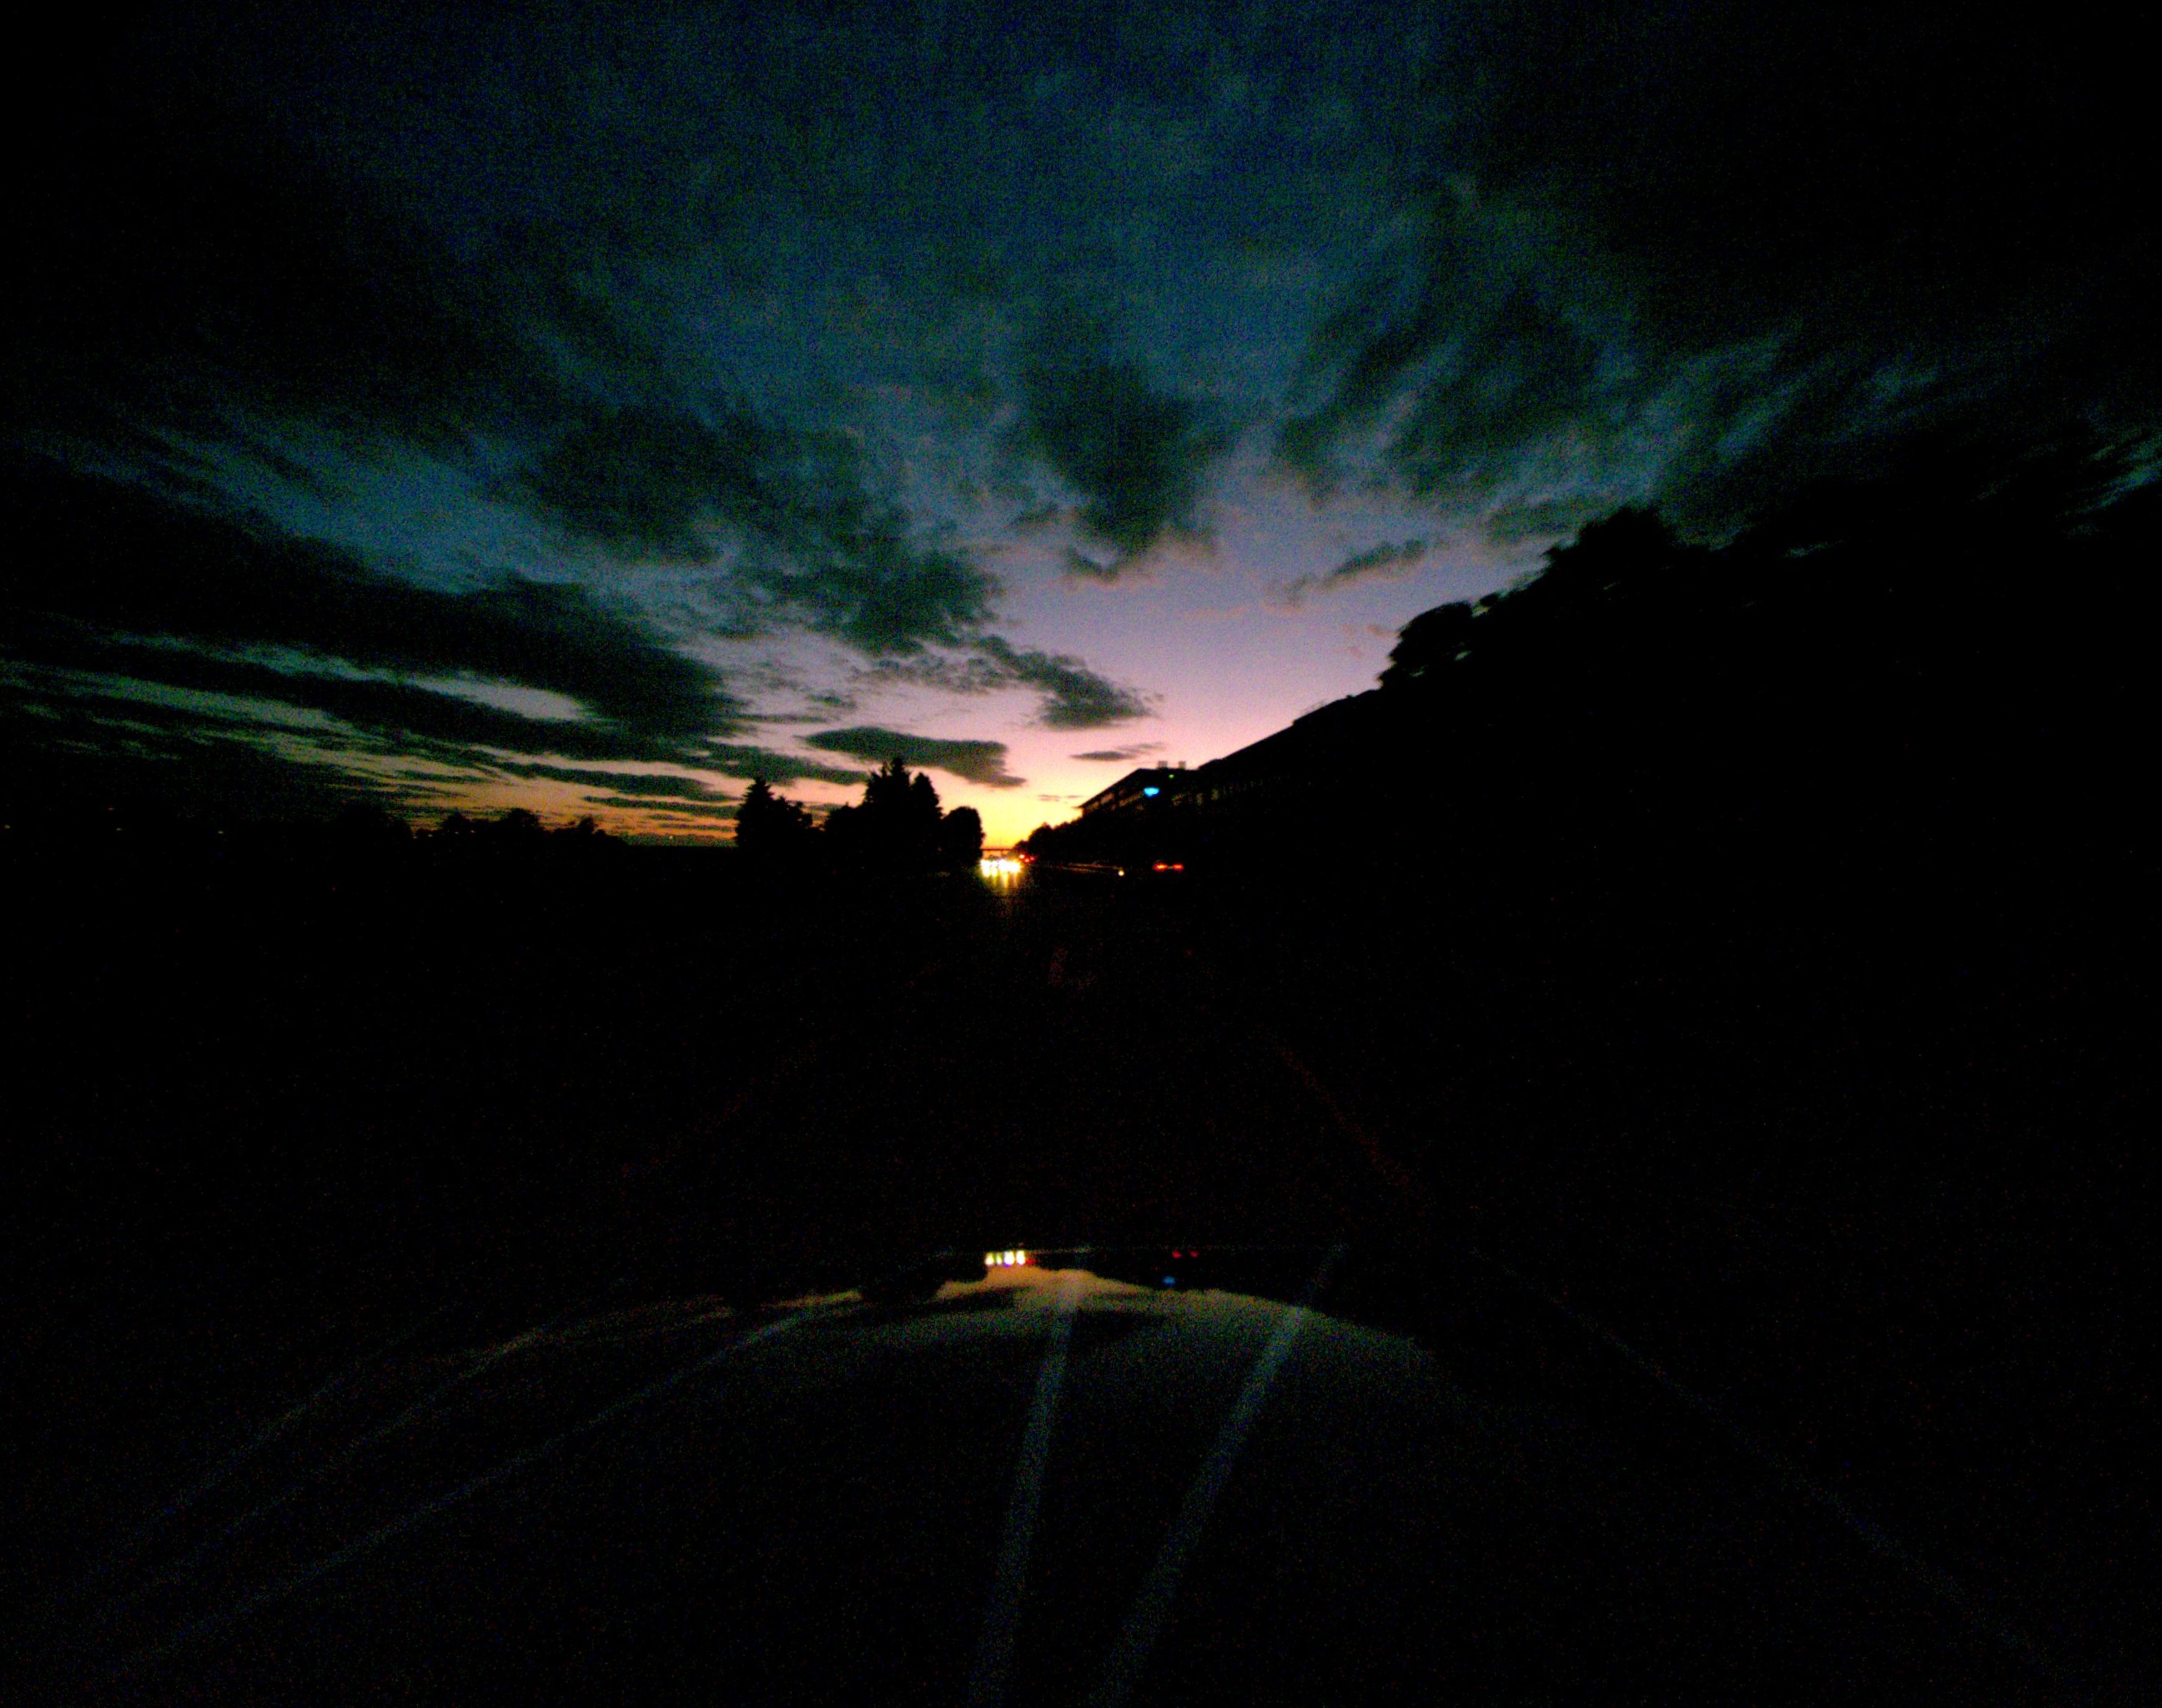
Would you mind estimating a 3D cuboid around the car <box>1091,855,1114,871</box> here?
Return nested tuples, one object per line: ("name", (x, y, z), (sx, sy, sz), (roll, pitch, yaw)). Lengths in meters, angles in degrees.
("car", (2.134, 0.932, 75.413), (1.698, 1.524, 3.998), (-1, 0, -6))

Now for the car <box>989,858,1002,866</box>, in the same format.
("car", (-16.736, 1.585, 148.465), (1.998, 1.574, 4.000), (-2, 0, 1))

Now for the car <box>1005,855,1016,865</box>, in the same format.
("car", (-15.364, 1.213, 164.779), (1.862, 2.002, 4.000), (-2, 0, 0))

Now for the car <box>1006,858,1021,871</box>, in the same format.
("car", (-8.234, 1.267, 93.039), (1.756, 1.447, 3.802), (-2, 0, -6))
